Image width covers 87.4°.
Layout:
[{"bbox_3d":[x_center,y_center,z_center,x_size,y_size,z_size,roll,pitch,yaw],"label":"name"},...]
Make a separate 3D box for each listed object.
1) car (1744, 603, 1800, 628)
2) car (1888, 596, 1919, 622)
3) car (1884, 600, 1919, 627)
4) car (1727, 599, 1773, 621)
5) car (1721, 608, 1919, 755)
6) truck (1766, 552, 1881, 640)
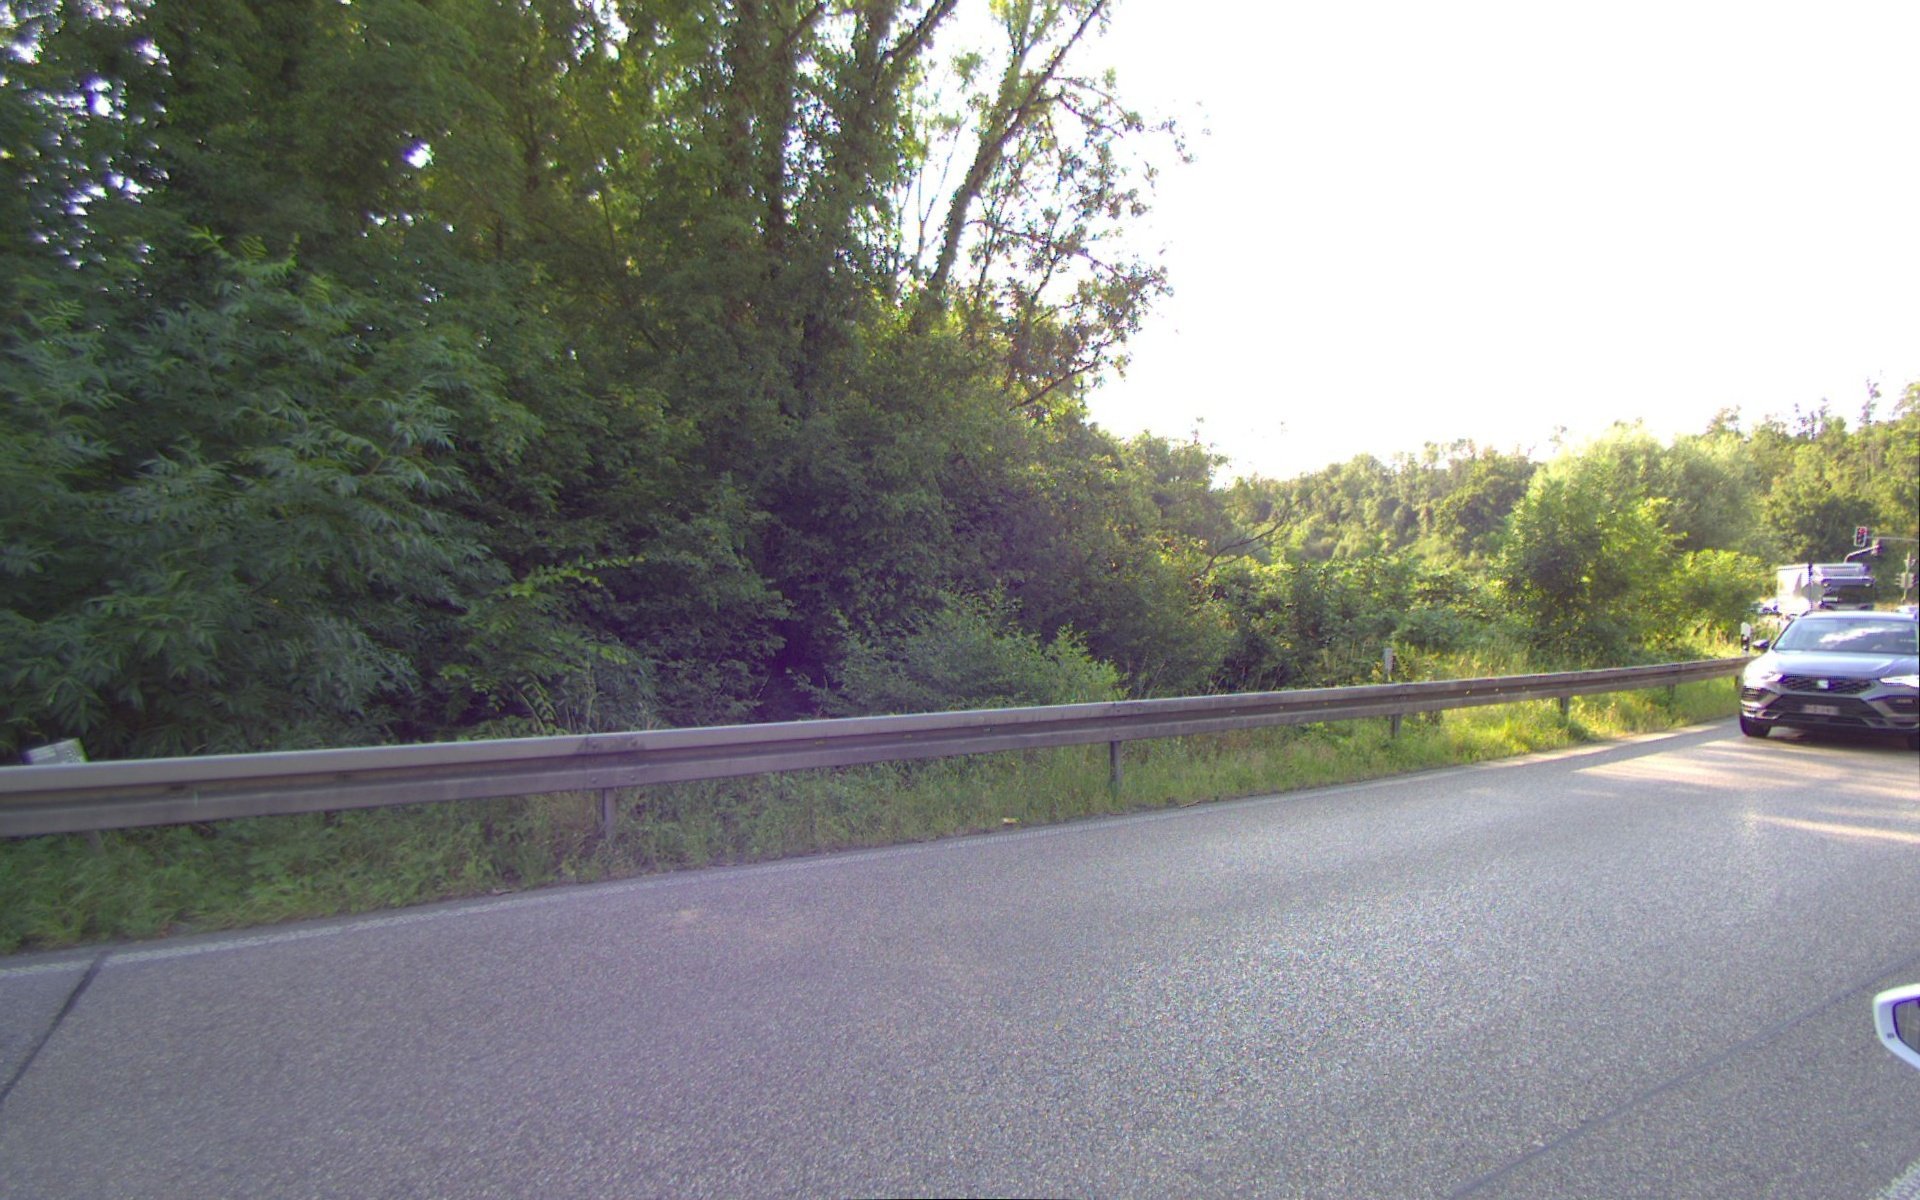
[{"bbox_3d":[66.627,1.262,82.434,3.943,1.876,1.863,2,2,-23],"label":"car"},{"bbox_3d":[79.961,0.798,83.249,3.922,2.041,1.999,3,2,21],"label":"car"},{"bbox_3d":[60.122,0.872,63.355,1.841,1.586,3.991,3,2,31],"label":"car"},{"bbox_3d":[60.188,0.768,76.498,3.966,1.577,1.852,1,2,-39],"label":"car"},{"bbox_3d":[11.384,0.899,12.893,3.969,1.586,1.851,0,0,-41],"label":"car"},{"bbox_3d":[49.619,-0.213,58.076,2.968,4.646,10.222,2,0,30],"label":"truck"}]
